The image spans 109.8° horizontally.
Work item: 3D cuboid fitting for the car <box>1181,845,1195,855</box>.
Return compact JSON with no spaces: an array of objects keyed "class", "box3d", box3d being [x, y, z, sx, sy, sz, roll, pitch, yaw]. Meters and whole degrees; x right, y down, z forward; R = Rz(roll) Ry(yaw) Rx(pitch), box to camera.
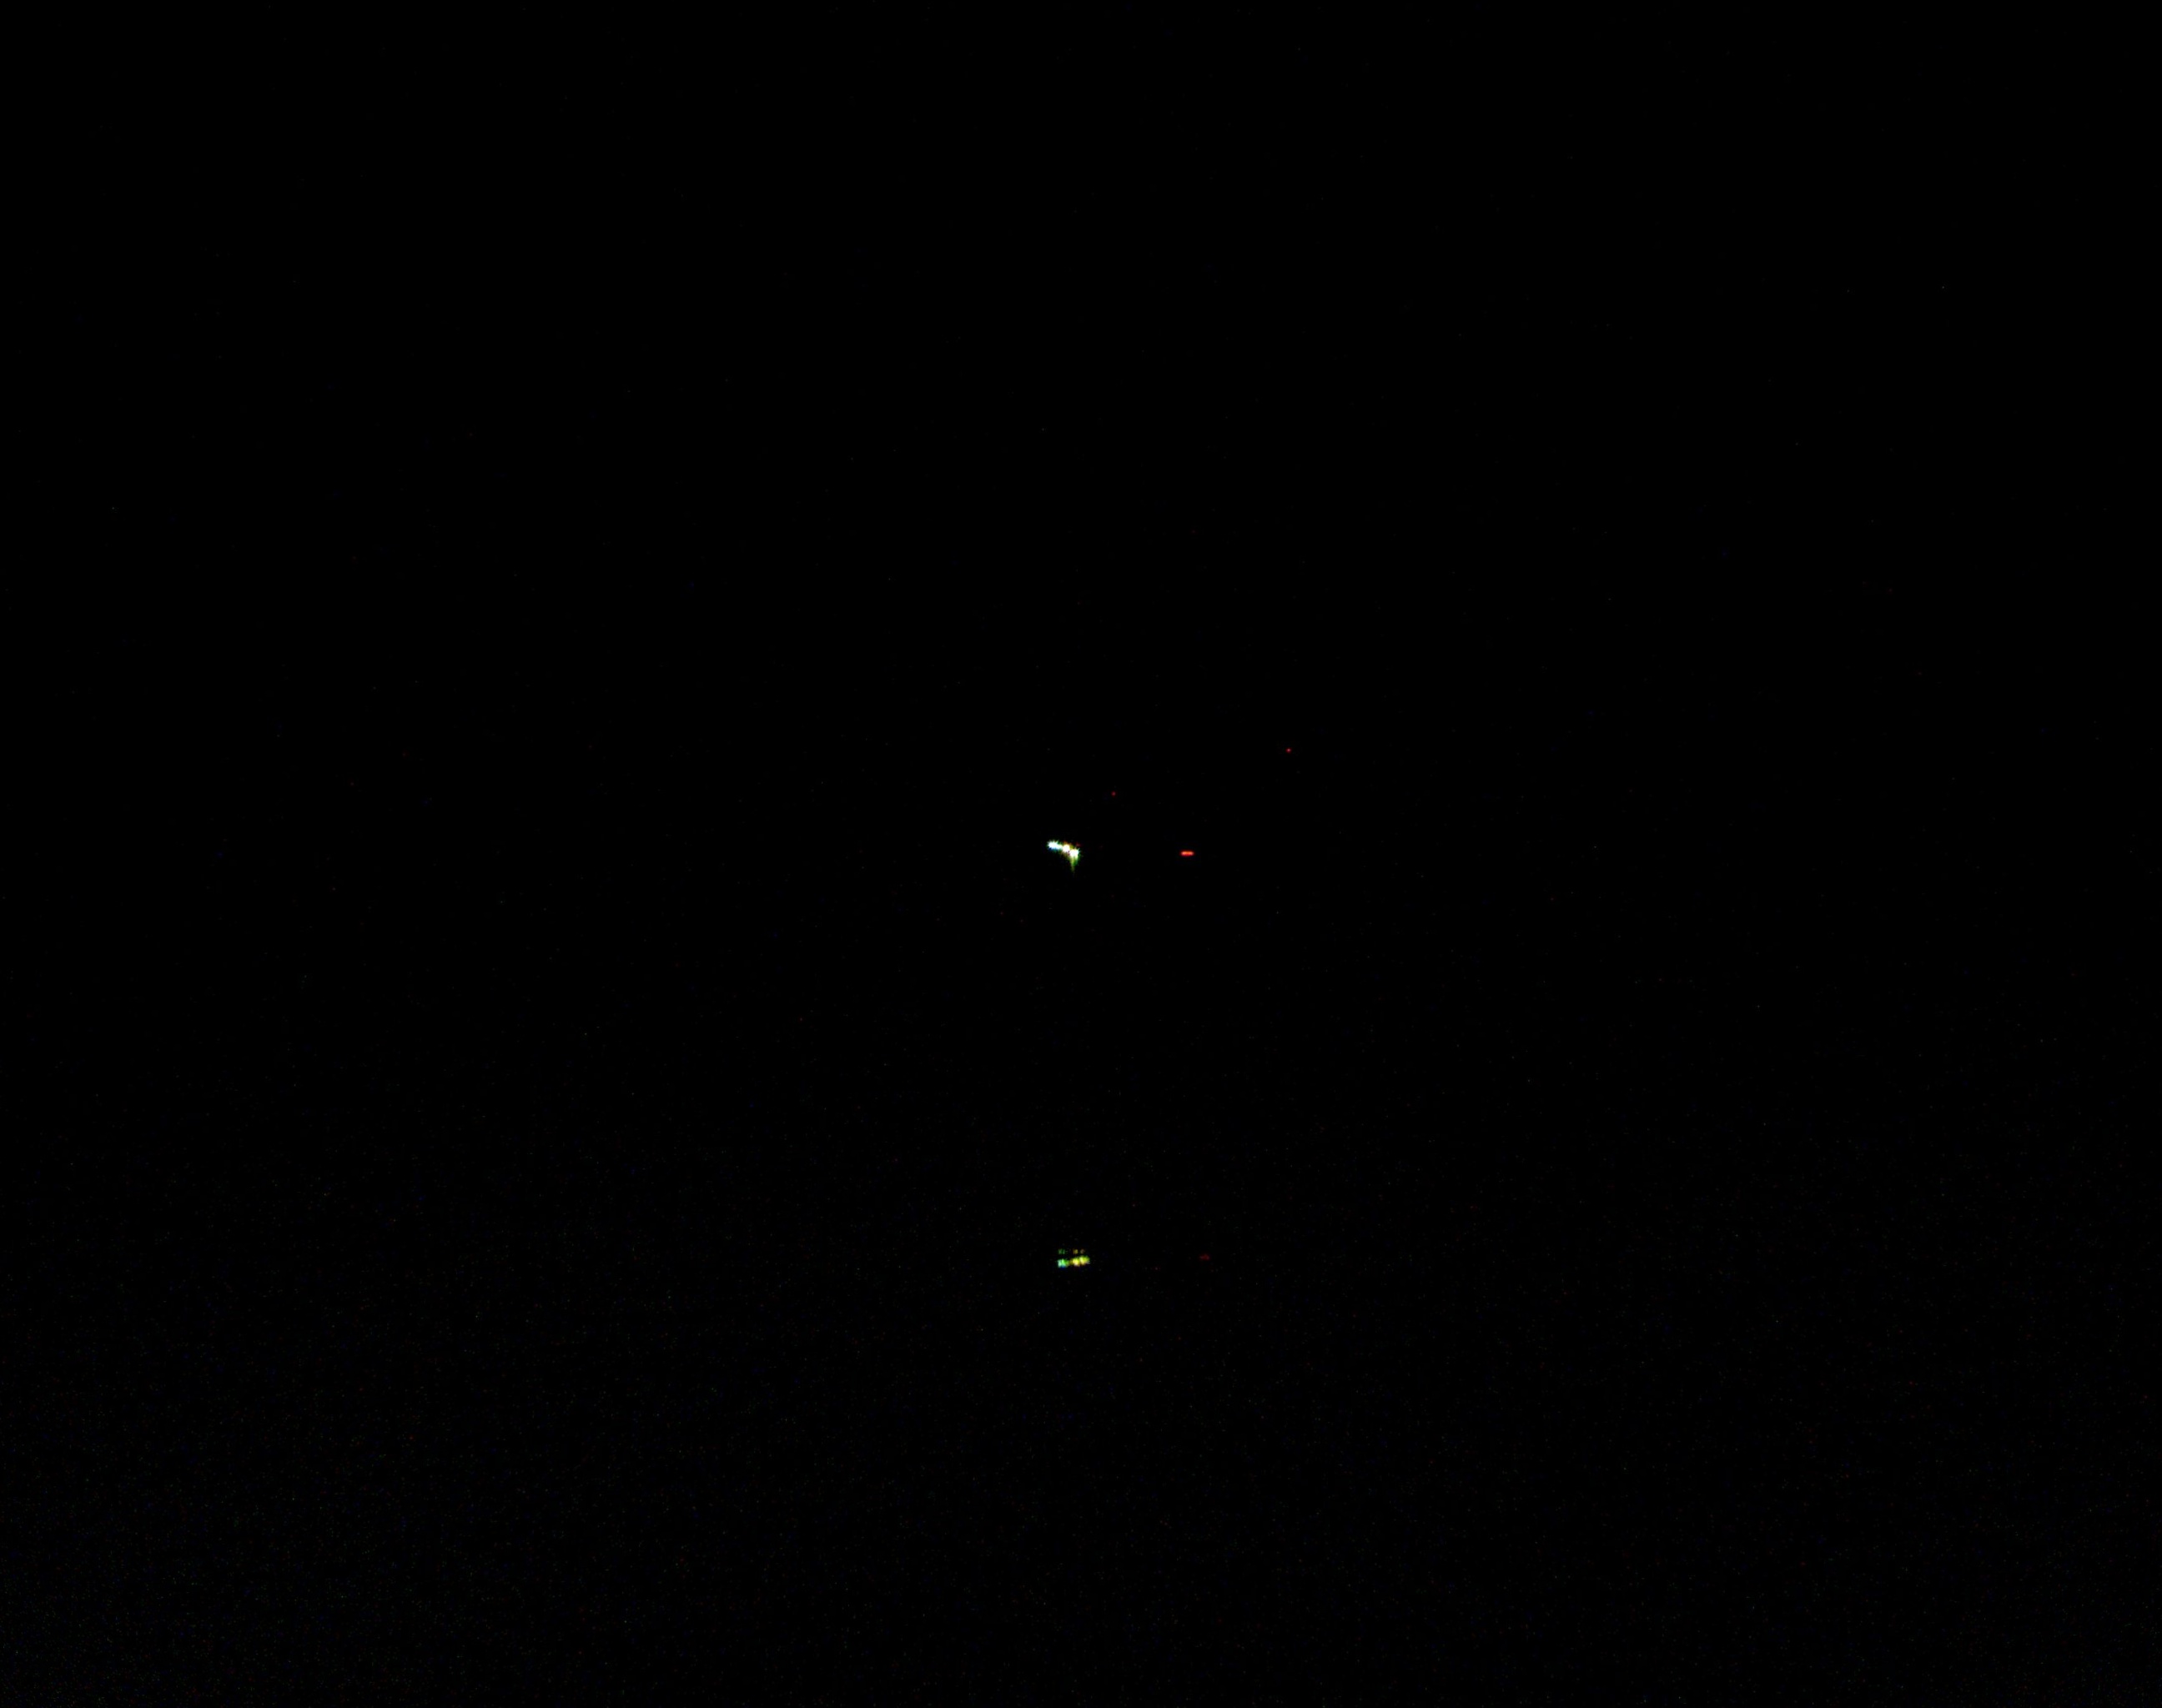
[{"class":"car","box3d":[20.454,-0.829,145.522,1.998,1.735,5.070,-2,1,0]}]
